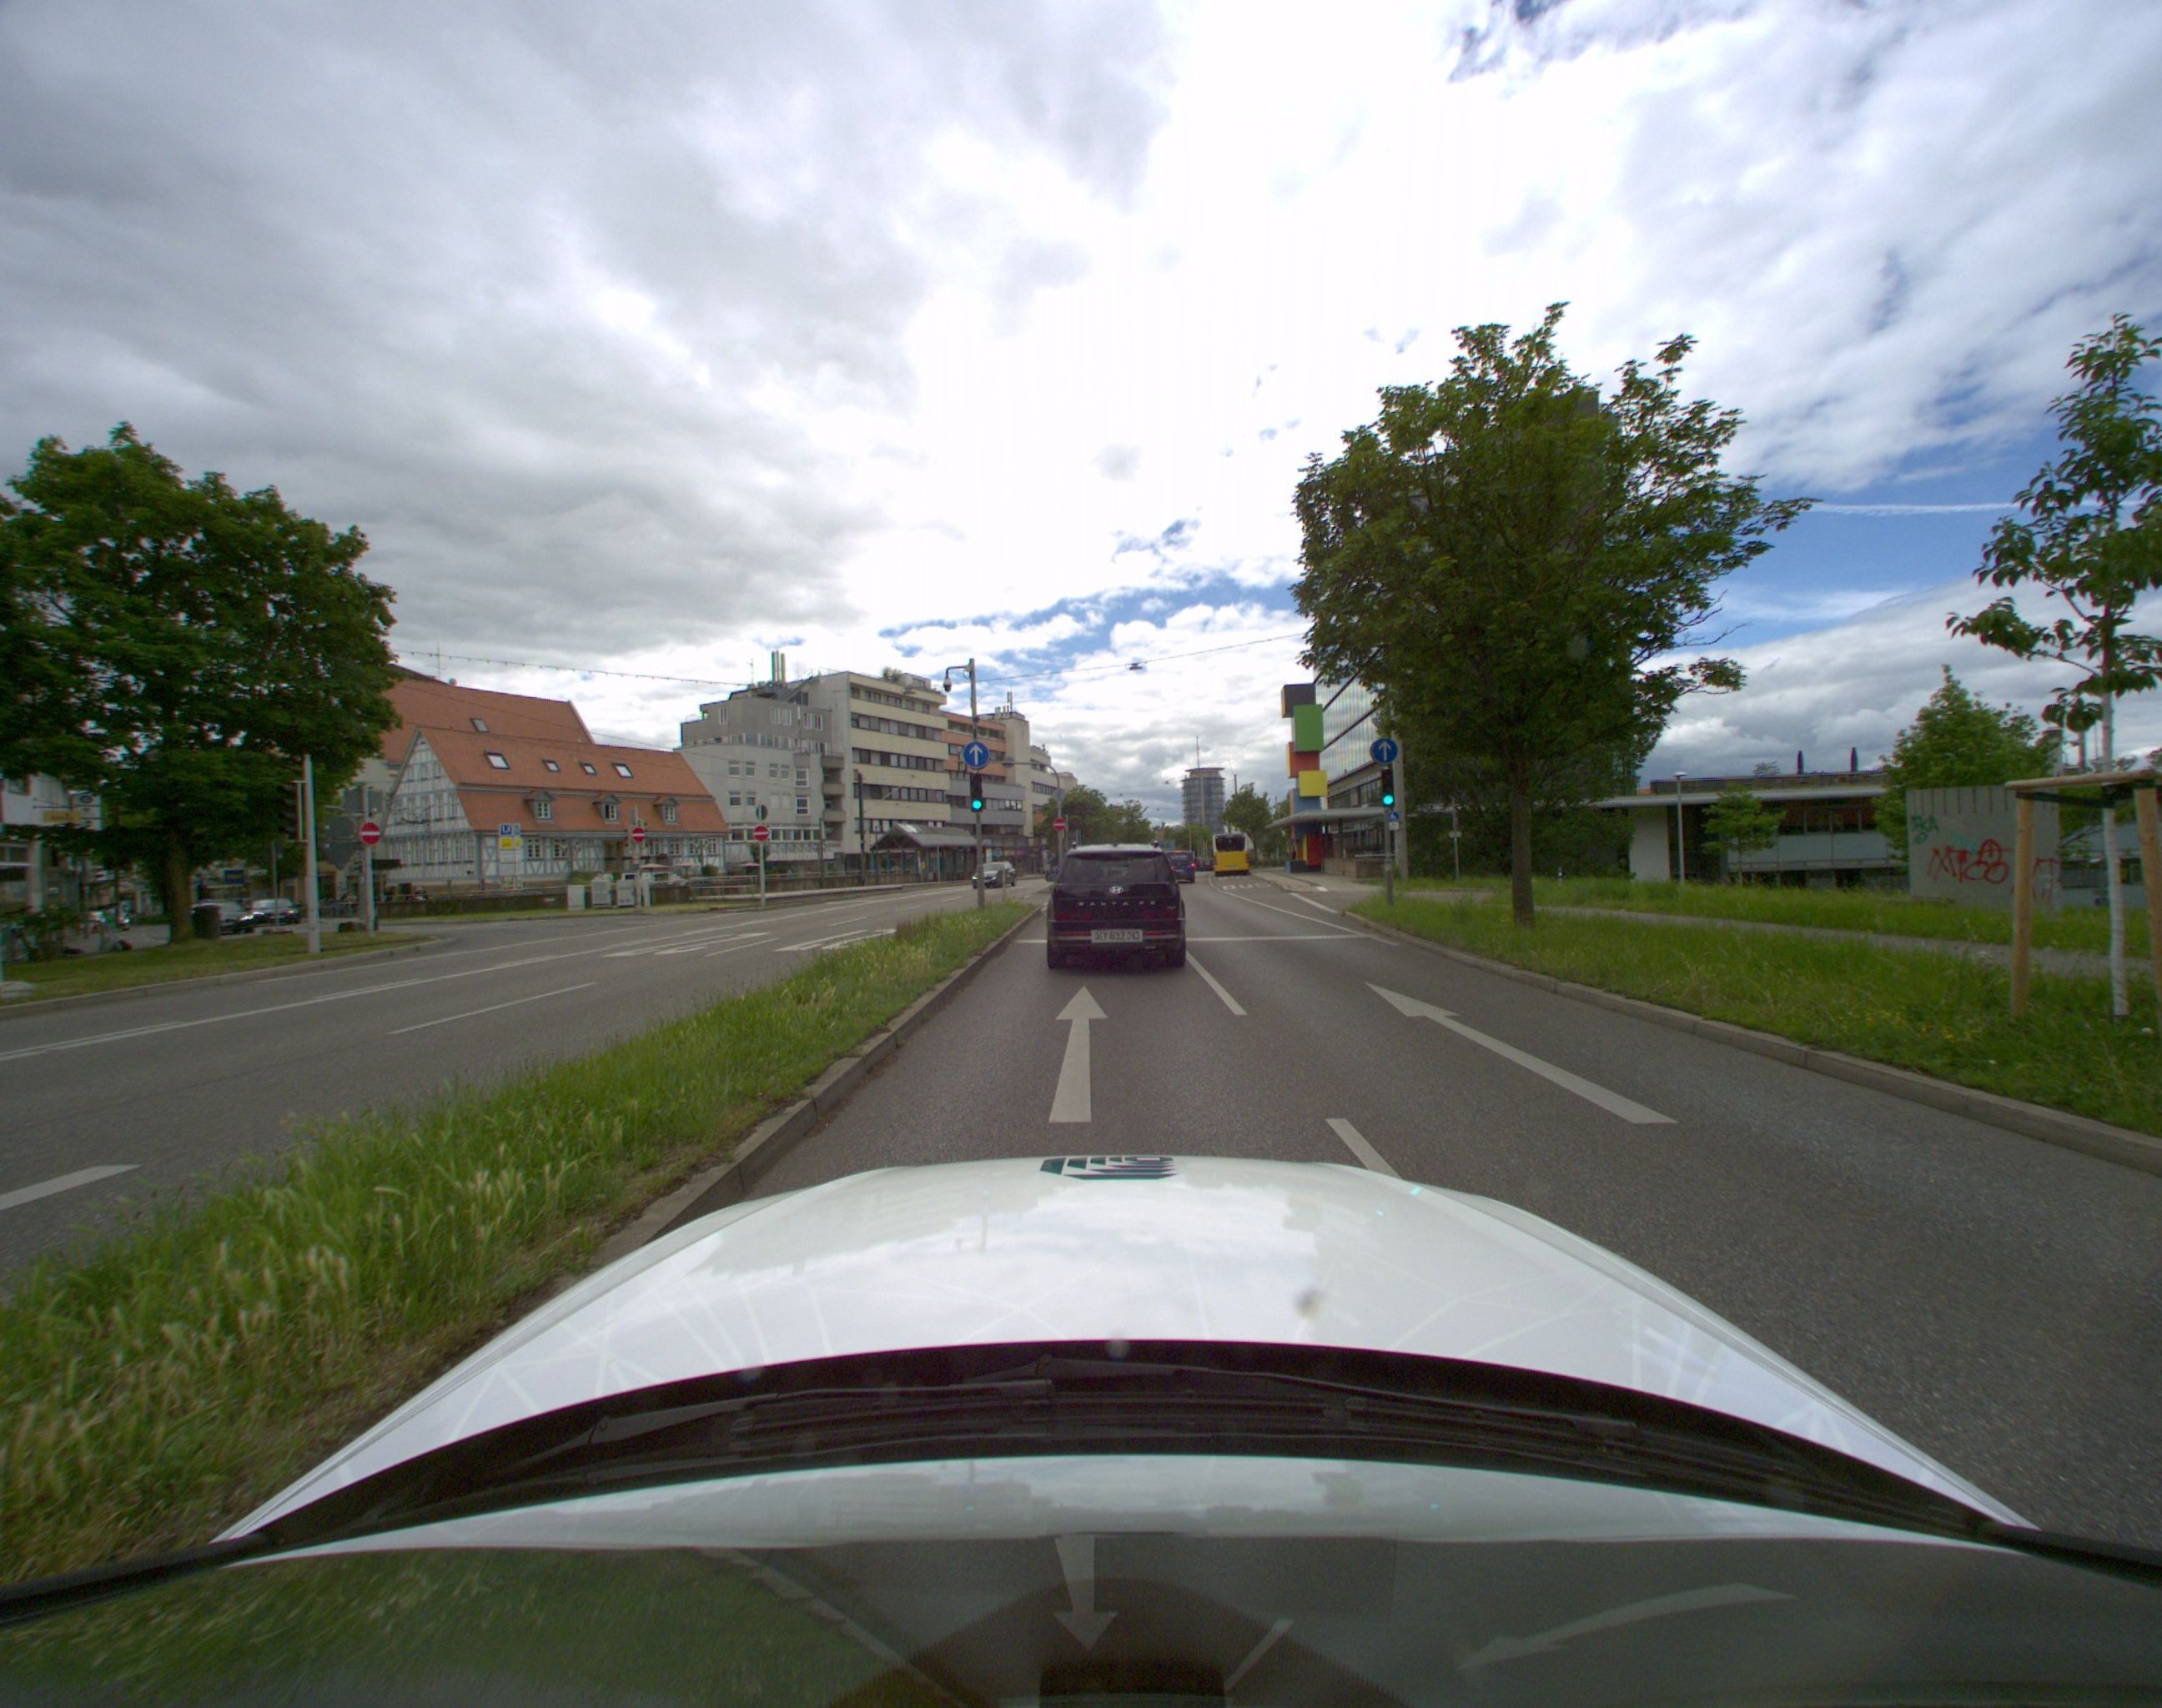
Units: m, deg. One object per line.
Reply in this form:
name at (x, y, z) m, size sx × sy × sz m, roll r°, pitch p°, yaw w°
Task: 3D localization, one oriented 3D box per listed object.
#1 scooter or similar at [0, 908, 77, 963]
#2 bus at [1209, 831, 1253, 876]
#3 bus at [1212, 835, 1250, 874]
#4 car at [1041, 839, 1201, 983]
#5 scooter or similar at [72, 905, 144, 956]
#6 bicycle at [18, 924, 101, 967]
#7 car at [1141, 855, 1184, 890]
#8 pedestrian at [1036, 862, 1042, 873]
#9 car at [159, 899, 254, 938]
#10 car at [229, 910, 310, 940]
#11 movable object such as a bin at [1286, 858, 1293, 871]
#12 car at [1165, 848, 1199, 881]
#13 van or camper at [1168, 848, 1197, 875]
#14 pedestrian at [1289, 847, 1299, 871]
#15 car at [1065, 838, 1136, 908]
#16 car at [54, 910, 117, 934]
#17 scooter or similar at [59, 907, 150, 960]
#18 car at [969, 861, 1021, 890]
scooter or similar at (-22.830, 1.751, 17.660) m, size 0.597 × 1.085 × 1.180 m, roll -2°, pitch -1°, yaw 12°
bus at (11.659, -0.003, 63.256) m, size 2.948 × 3.116 × 9.270 m, roll -3°, pitch -1°, yaw 10°
bus at (13.357, 0.062, 72.644) m, size 2.933 × 3.111 × 10.004 m, roll -3°, pitch -1°, yaw 10°
car at (0.385, 0.671, 12.182) m, size 1.898 × 1.731 × 4.440 m, roll -1°, pitch 0°, yaw -4°
scooter or similar at (-22.702, 1.774, 19.013) m, size 0.420 × 1.085 × 0.994 m, roll -2°, pitch -1°, yaw 8°
bicycle at (-20.764, 1.854, 16.559) m, size 1.252 × 0.804 × 0.425 m, roll -2°, pitch -1°, yaw 5°
car at (3.908, 0.853, 39.735) m, size 1.894 × 1.542 × 4.713 m, roll -1°, pitch 0°, yaw 3°
pedestrian at (-6.507, 2.125, 126.128) m, size 0.723 × 1.673 × 0.586 m, roll -2°, pitch -1°, yaw 32°
car at (-35.769, 2.620, 33.285) m, size 4.622 × 1.381 × 1.838 m, roll -3°, pitch -1°, yaw 33°
car at (-40.827, 3.521, 40.961) m, size 3.860 × 1.295 × 1.999 m, roll -3°, pitch -1°, yaw 31°
movable object such as a bin at (14.109, 0.718, 55.152) m, size 0.354 × 0.898 × 0.463 m, roll -2°, pitch -1°, yaw 9°
car at (5.959, 0.585, 48.484) m, size 1.892 × 1.859 × 4.717 m, roll 0°, pitch 0°, yaw 6°
van or camper at (7.637, 0.517, 61.662) m, size 1.984 × 1.917 × 4.415 m, roll -1°, pitch 1°, yaw 5°
pedestrian at (14.592, 0.338, 55.711) m, size 0.521 × 1.673 × 0.735 m, roll -2°, pitch -1°, yaw 9°
car at (0.506, 0.524, 25.328) m, size 1.897 × 1.969 × 4.632 m, roll -1°, pitch 0°, yaw -2°
car at (-62.230, 4.224, 50.900) m, size 3.860 × 1.295 × 1.999 m, roll -2°, pitch 0°, yaw 32°
scooter or similar at (-21.654, 1.748, 18.078) m, size 0.486 × 1.045 × 1.181 m, roll -2°, pitch -1°, yaw 16°
car at (-4.775, 1.188, 45.815) m, size 1.788 × 1.455 × 4.622 m, roll -2°, pitch -1°, yaw 8°
